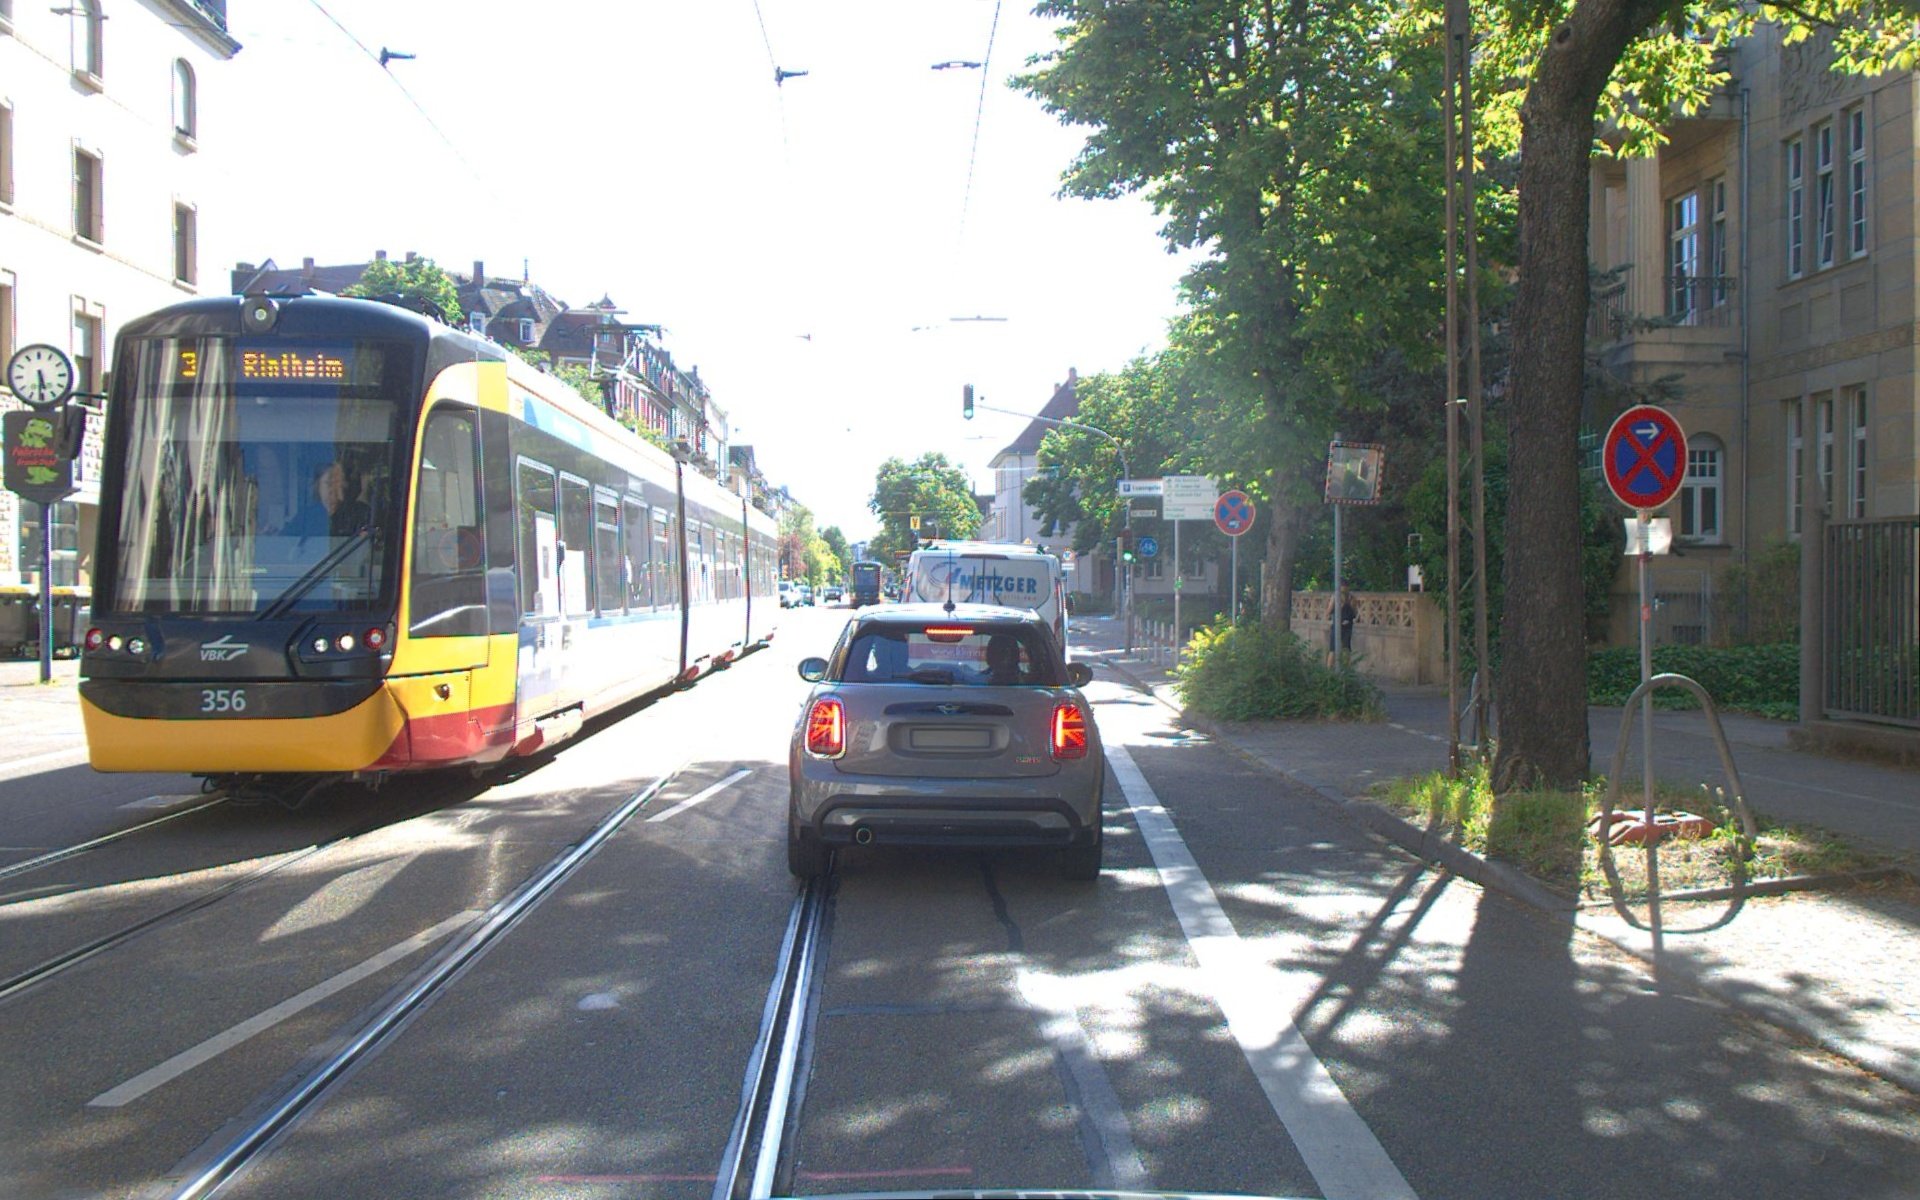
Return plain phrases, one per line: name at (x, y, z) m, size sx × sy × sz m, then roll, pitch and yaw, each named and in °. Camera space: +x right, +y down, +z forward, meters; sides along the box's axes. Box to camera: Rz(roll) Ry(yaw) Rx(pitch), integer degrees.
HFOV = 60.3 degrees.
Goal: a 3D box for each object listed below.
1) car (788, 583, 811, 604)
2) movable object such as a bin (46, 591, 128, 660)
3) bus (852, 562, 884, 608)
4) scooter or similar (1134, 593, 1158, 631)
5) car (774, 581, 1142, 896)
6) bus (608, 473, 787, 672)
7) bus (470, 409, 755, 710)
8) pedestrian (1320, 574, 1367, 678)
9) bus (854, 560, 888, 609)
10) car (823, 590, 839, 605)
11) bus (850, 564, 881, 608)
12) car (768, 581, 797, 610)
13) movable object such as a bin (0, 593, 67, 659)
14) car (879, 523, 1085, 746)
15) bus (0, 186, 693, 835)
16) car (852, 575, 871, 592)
car at (-13.025, -0.542, 134.392) m, size 1.741 × 1.646 × 3.996 m, roll 1°, pitch 0°, yaw -4°
movable object such as a bin at (-16.922, 0.489, 32.094) m, size 0.925 × 1.296 × 1.144 m, roll 1°, pitch 0°, yaw 3°
bus at (-7.411, -1.129, 132.791) m, size 2.339 × 3.557 × 7.376 m, roll 1°, pitch 0°, yaw -5°
scooter or similar at (6.611, 0.423, 58.914) m, size 0.662 × 1.333 × 1.328 m, roll 1°, pitch 0°, yaw -2°
car at (-0.037, 0.687, 10.093) m, size 1.778 × 1.514 × 3.999 m, roll 1°, pitch 0°, yaw -1°
bus at (-5.776, -0.515, 38.499) m, size 2.793 × 3.843 × 12.189 m, roll 1°, pitch 0°, yaw -3°
bus at (-5.177, -0.496, 26.974) m, size 2.803 × 3.843 × 11.176 m, roll 1°, pitch 0°, yaw -3°
pedestrian at (6.375, 0.431, 27.522) m, size 0.580 × 1.700 × 0.646 m, roll -2°, pitch 0°, yaw -1°
bus at (-6.779, -1.132, 125.411) m, size 2.339 × 3.557 × 7.376 m, roll 1°, pitch 0°, yaw -5°
car at (-14.048, -0.286, 180.445) m, size 1.741 × 1.646 × 3.996 m, roll 1°, pitch 0°, yaw -4°
bus at (-8.045, -1.151, 140.184) m, size 2.339 × 3.557 × 7.376 m, roll 1°, pitch 0°, yaw -5°
car at (-12.825, -0.318, 119.267) m, size 1.956 × 2.049 × 5.021 m, roll 1°, pitch 0°, yaw -7°
movable object such as a bin at (-17.836, 0.488, 31.628) m, size 0.815 × 1.244 × 1.244 m, roll 1°, pitch 0°, yaw 1°
car at (0.193, 0.364, 19.412) m, size 2.075 × 2.247 × 4.943 m, roll 1°, pitch 0°, yaw -1°
bus at (-4.586, -0.502, 15.670) m, size 2.803 × 3.843 × 11.490 m, roll 1°, pitch 0°, yaw -3°
car at (-9.450, -1.552, 158.557) m, size 1.827 × 1.591 × 3.996 m, roll 1°, pitch 0°, yaw -4°
